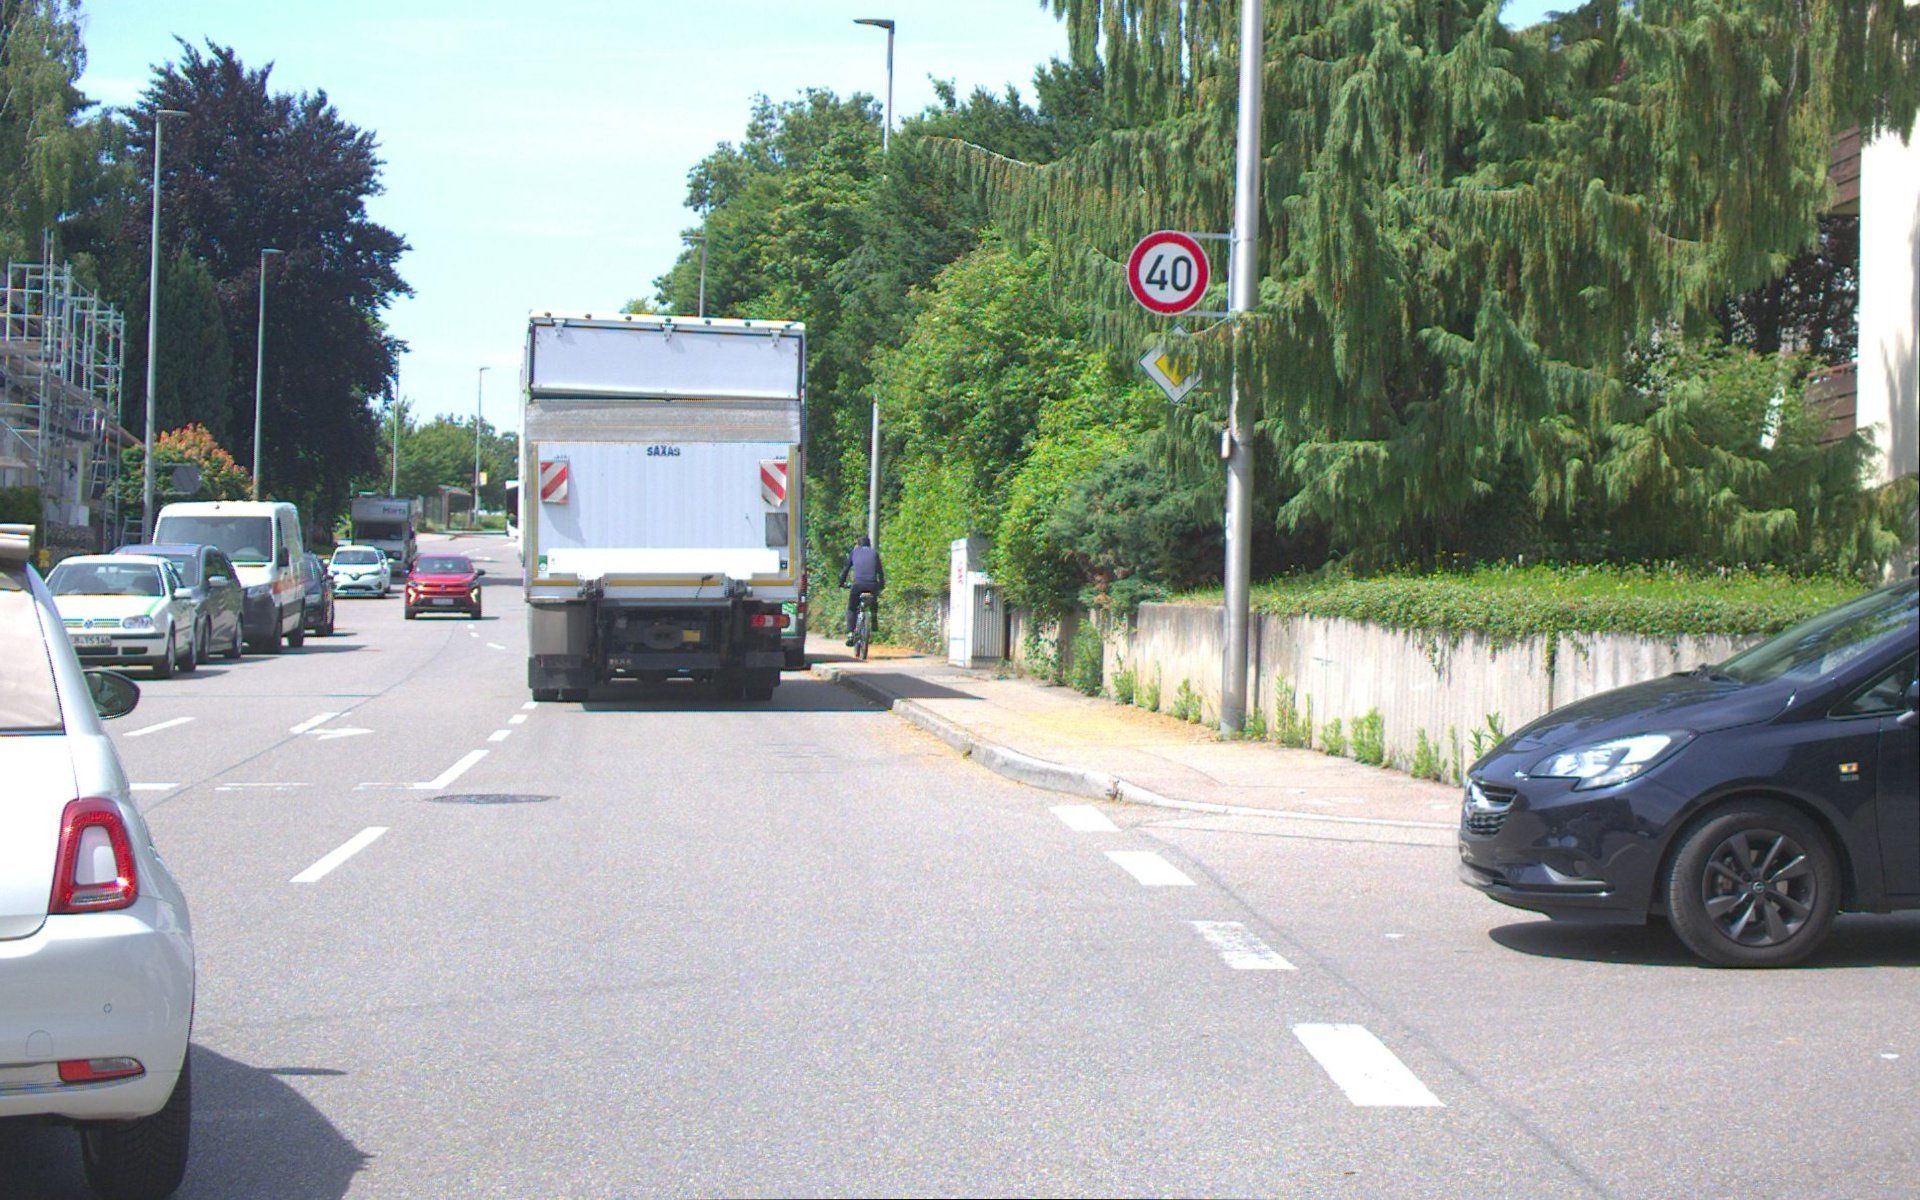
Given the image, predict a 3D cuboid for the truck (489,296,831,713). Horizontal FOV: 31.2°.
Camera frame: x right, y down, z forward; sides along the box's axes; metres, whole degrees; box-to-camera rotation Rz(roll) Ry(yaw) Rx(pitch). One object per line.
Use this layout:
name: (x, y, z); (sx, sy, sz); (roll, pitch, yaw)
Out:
truck: (-3.195, -0.902, 35.173); (3.068, 3.761, 7.869); (0, 1, -7)

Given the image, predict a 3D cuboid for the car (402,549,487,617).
car: (-12.385, -0.428, 82.736); (1.833, 1.529, 4.001); (2, 0, -6)

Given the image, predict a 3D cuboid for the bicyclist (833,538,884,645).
bicyclist: (-1.376, -0.121, 46.566); (0.588, 1.408, 0.742); (2, 1, -6)

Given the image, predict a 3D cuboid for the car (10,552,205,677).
car: (-10.067, 0.138, 40.830); (1.804, 1.393, 4.001); (1, 1, -8)

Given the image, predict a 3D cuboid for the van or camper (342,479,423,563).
van or camper: (-21.324, -2.930, 127.190); (2.265, 2.952, 5.889); (2, 1, -4)

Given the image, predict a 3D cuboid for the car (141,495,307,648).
car: (-11.217, -0.458, 52.709); (2.036, 2.192, 5.584); (1, 1, -8)

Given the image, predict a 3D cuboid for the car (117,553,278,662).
car: (-10.336, 0.075, 46.826); (1.804, 1.393, 3.969); (1, 1, -8)

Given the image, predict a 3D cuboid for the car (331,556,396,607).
car: (-18.032, -0.565, 103.982); (1.477, 1.489, 3.080); (1, 0, -1)

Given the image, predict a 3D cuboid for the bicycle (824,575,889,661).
bicycle: (-1.411, 0.228, 46.606); (0.668, 1.100, 2.426); (2, 1, -6)

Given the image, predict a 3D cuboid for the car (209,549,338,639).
car: (-12.744, -0.134, 64.026); (2.036, 1.589, 4.758); (1, 1, -8)

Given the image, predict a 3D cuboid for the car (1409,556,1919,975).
car: (3.781, 0.579, 12.879); (3.933, 1.453, 1.659); (0, 1, -2)

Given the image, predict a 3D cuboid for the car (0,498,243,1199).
car: (-3.043, 0.553, 8.735); (1.724, 1.555, 4.001); (0, 0, -22)

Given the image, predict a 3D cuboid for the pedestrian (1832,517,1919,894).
pedestrian: (4.345, 0.468, 15.545); (0.697, 1.666, 0.569); (2, 1, 18)
